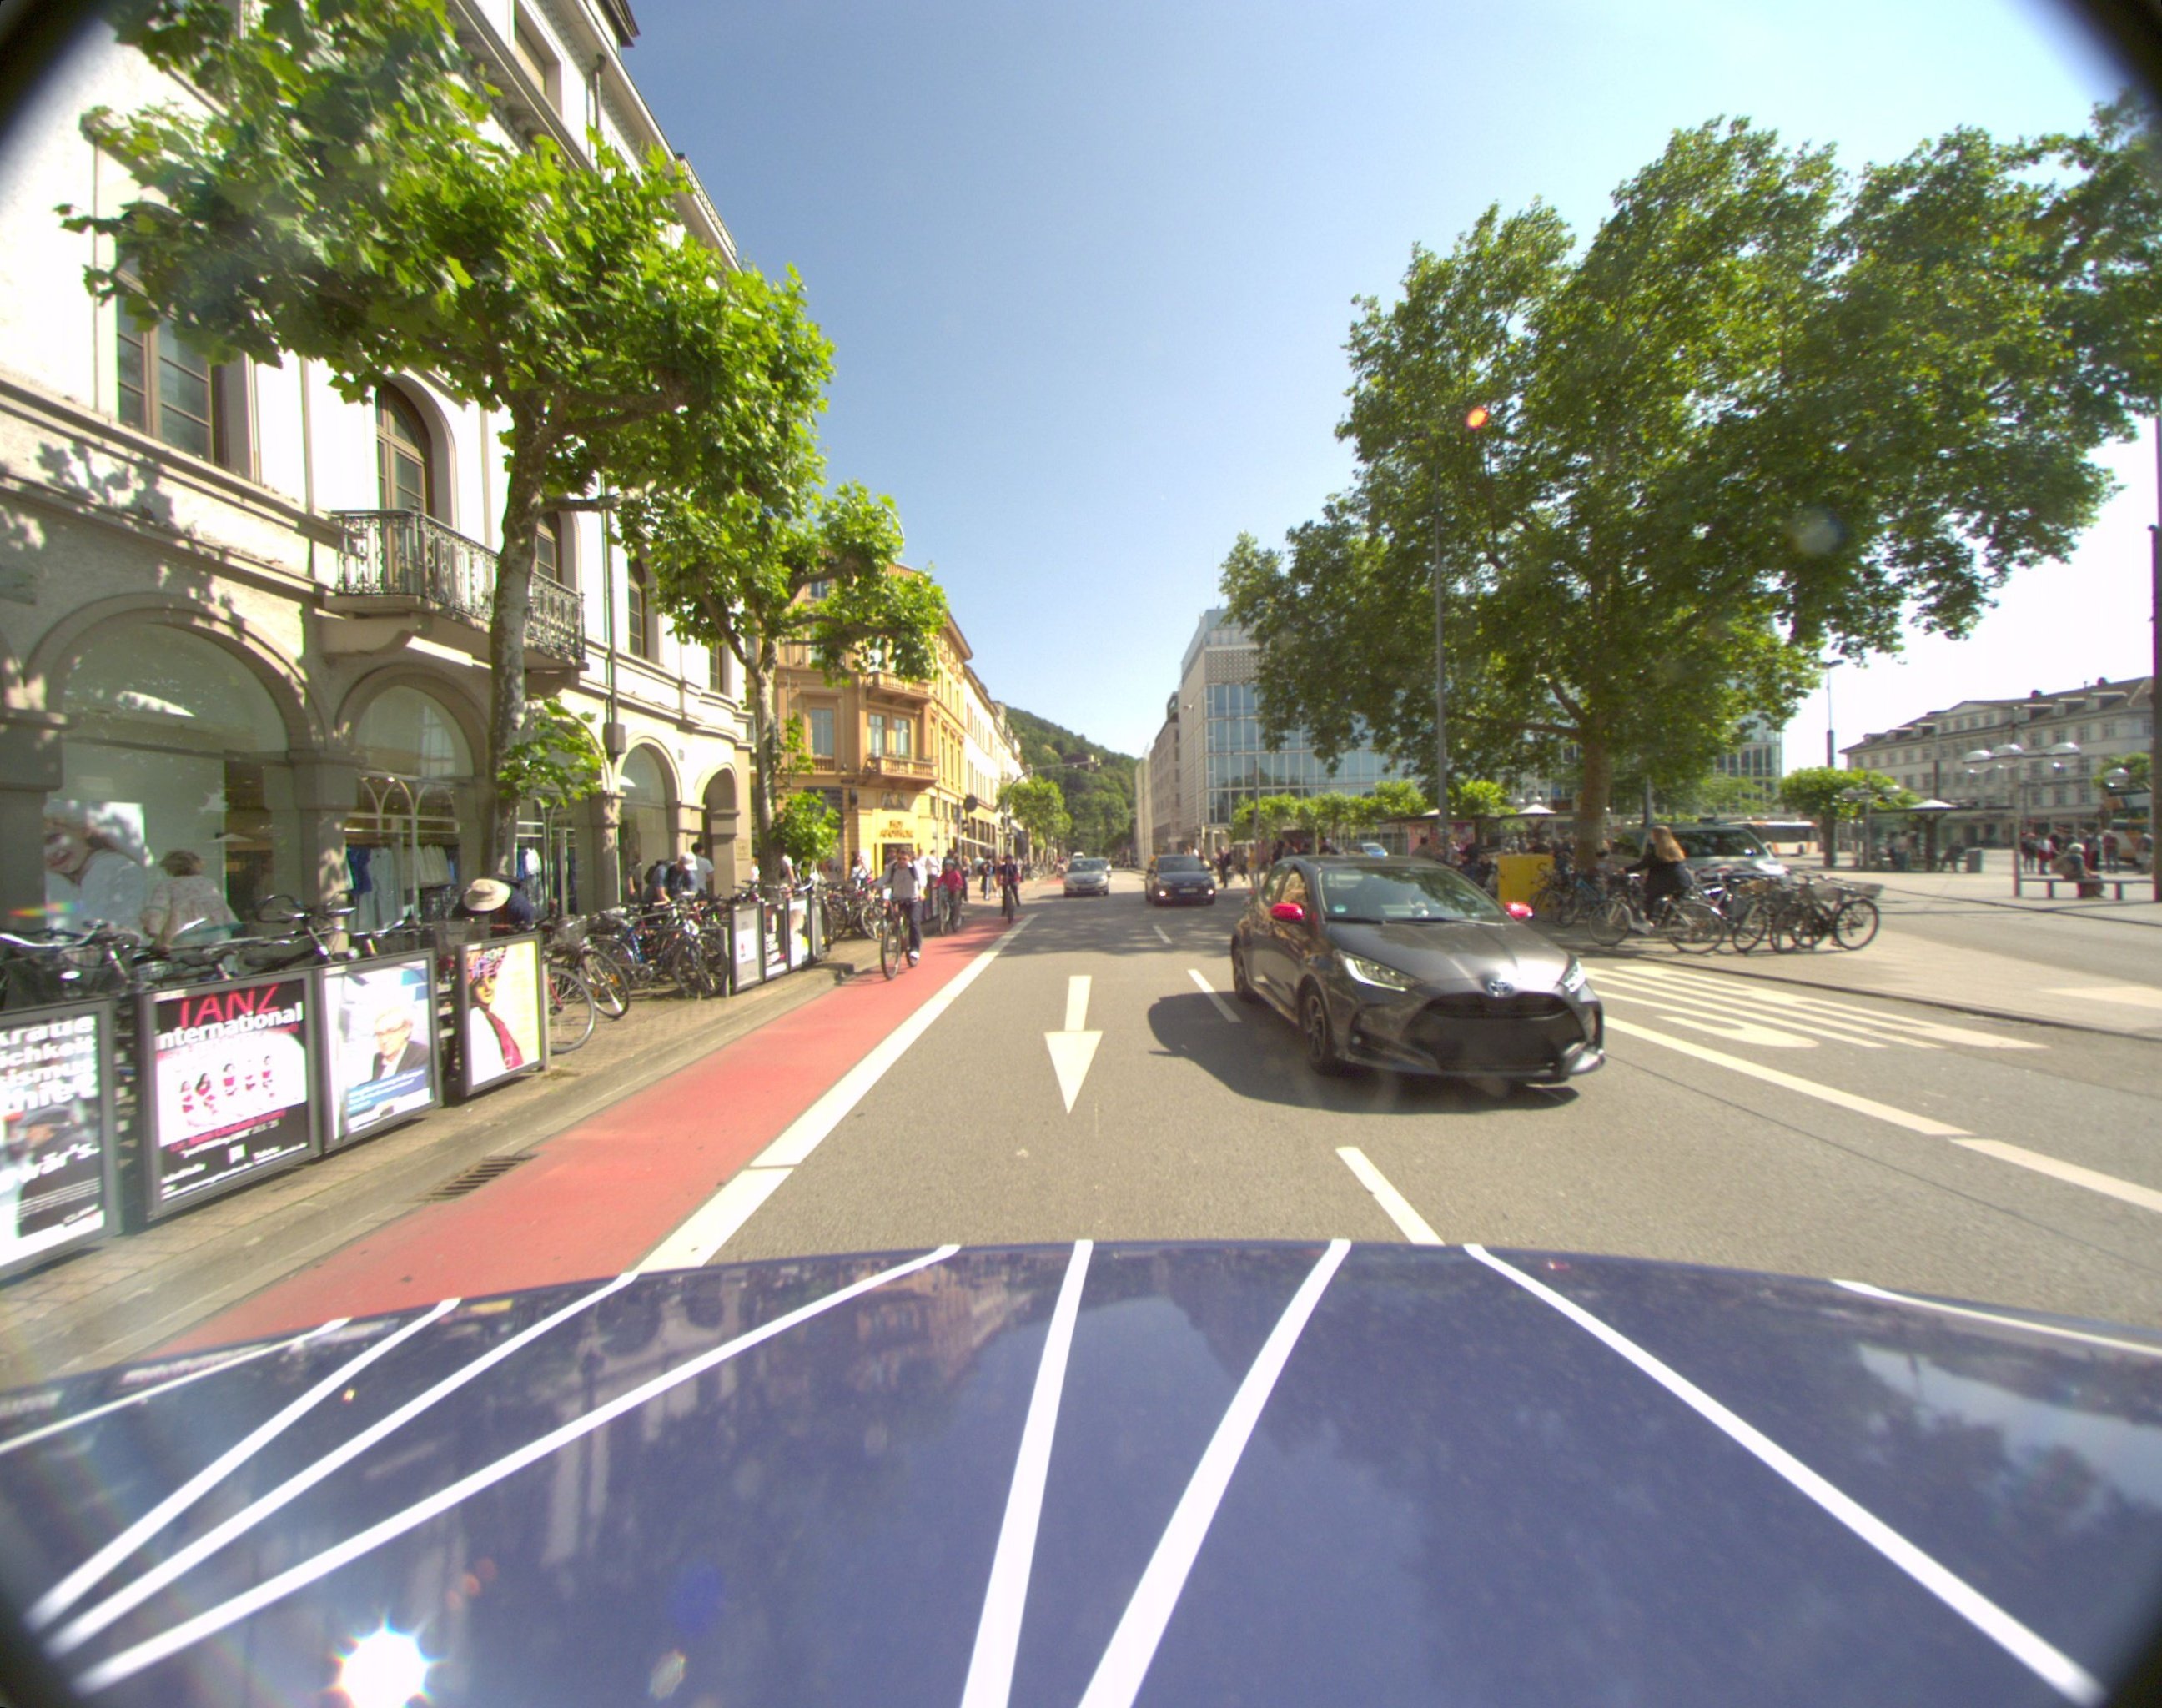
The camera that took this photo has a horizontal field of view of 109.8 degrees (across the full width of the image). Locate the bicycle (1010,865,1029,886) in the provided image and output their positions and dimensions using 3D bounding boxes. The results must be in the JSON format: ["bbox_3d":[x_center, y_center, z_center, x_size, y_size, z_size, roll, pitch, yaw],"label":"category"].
[{"bbox_3d":[-3.413,1.182,41.909,0.737,1.086,1.895,2,0,-13],"label":"bicycle"}]

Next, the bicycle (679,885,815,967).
[{"bbox_3d":[-5.077,1.077,11.618,1.757,1.140,0.592,-2,1,-2],"label":"bicycle"}]

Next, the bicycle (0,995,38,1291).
[{"bbox_3d":[-5.108,1.163,2.797,1.757,1.140,0.483,-2,1,-2],"label":"bicycle"}]

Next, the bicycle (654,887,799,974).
[{"bbox_3d":[-5.066,1.084,10.918,1.757,1.140,0.592,-2,1,-2],"label":"bicycle"}]

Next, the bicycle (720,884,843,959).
[{"bbox_3d":[-4.923,1.100,12.549,1.757,1.140,0.598,-2,1,-2],"label":"bicycle"}]

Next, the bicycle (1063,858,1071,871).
[{"bbox_3d":[-1.350,1.011,73.757,0.736,1.086,1.897,-3,1,1],"label":"bicycle"}]

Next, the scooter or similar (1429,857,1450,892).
[{"bbox_3d":[11.925,0.666,25.256,0.567,1.113,0.539,-3,1,28],"label":"scooter or similar"}]

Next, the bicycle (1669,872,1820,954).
[{"bbox_3d":[9.971,0.871,11.442,1.865,1.140,0.483,-2,1,-2],"label":"bicycle"}]

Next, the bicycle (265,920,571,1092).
[{"bbox_3d":[-5.019,1.128,5.828,1.757,1.140,0.592,-2,1,-2],"label":"bicycle"}]

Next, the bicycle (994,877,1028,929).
[{"bbox_3d":[-1.669,1.140,18.347,0.667,1.086,1.897,-3,1,-2],"label":"bicycle"}]

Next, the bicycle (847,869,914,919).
[{"bbox_3d":[-5.034,1.007,19.078,1.533,1.190,0.425,-2,1,-2],"label":"bicycle"}]

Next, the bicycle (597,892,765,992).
[{"bbox_3d":[-5.027,1.093,9.620,1.757,1.140,0.592,-2,1,-2],"label":"bicycle"}]

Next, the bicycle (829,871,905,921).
[{"bbox_3d":[-5.198,1.019,18.483,1.660,1.140,0.523,-2,1,-2],"label":"bicycle"}]

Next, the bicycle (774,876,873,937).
[{"bbox_3d":[-5.156,1.047,15.276,1.757,1.140,0.592,-2,1,-2],"label":"bicycle"}]

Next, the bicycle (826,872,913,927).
[{"bbox_3d":[-4.773,1.021,17.213,1.757,1.140,0.592,-2,1,-2],"label":"bicycle"}]

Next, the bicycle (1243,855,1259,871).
[{"bbox_3d":[12.497,0.630,55.826,0.592,1.140,1.757,-2,1,-7],"label":"bicycle"}]

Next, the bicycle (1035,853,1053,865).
[{"bbox_3d":[-3.664,0.489,75.506,1.757,1.140,0.592,-2,1,-2],"label":"bicycle"}]

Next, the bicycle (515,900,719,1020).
[{"bbox_3d":[-4.906,1.107,8.104,1.757,1.140,0.592,-2,1,-1],"label":"bicycle"}]

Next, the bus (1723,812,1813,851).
[{"bbox_3d":[59.067,-1.961,65.183,12.201,2.774,2.384,-4,1,-32],"label":"bus"}]

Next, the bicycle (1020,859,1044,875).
[{"bbox_3d":[-3.706,0.981,57.266,1.757,1.140,0.592,-2,1,-2],"label":"bicycle"}]

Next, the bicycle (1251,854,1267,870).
[{"bbox_3d":[13.098,0.569,55.893,0.592,1.140,1.757,-2,1,-7],"label":"bicycle"}]

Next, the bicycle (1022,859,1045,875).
[{"bbox_3d":[-3.648,0.986,58.746,1.757,1.140,0.592,-2,1,-2],"label":"bicycle"}]

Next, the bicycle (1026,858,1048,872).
[{"bbox_3d":[-3.697,0.910,63.884,1.757,1.140,0.592,-2,1,-2],"label":"bicycle"}]

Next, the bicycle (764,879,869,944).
[{"bbox_3d":[-5.035,1.084,14.524,1.757,1.140,0.592,-2,1,-2],"label":"bicycle"}]

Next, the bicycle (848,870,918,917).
[{"bbox_3d":[-5.086,1.003,19.563,1.632,1.140,0.425,-2,1,-2],"label":"bicycle"}]

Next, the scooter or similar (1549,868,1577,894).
[{"bbox_3d":[12.877,0.724,20.297,0.579,0.643,0.787,-3,1,33],"label":"scooter or similar"}]

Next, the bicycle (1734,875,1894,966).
[{"bbox_3d":[10.024,0.898,10.412,1.757,1.140,0.483,-2,1,-2],"label":"bicycle"}]

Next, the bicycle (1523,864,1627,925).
[{"bbox_3d":[9.821,0.795,15.126,1.757,1.140,0.483,-2,1,-2],"label":"bicycle"}]

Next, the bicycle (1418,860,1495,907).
[{"bbox_3d":[9.705,0.765,19.672,1.757,1.140,0.483,-2,1,-2],"label":"bicycle"}]

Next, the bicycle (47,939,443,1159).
[{"bbox_3d":[-4.961,1.138,4.575,1.757,1.140,0.483,-2,1,-2],"label":"bicycle"}]

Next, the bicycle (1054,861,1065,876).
[{"bbox_3d":[-1.735,1.153,60.953,0.736,1.086,1.897,-3,1,1],"label":"bicycle"}]

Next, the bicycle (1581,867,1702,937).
[{"bbox_3d":[9.753,0.826,13.247,1.757,1.140,0.483,-2,1,-2],"label":"bicycle"}]

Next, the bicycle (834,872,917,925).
[{"bbox_3d":[-4.802,1.035,17.853,1.757,1.140,0.592,-2,1,-2],"label":"bicycle"}]

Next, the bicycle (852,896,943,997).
[{"bbox_3d":[-2.424,1.187,10.290,0.736,1.086,1.897,-3,1,-1],"label":"bicycle"}]

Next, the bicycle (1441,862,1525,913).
[{"bbox_3d":[9.636,0.795,18.230,1.757,1.140,0.483,-2,1,-2],"label":"bicycle"}]

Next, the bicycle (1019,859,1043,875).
[{"bbox_3d":[-3.695,0.984,56.525,1.757,1.140,0.592,-2,1,-2],"label":"bicycle"}]

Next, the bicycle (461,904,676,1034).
[{"bbox_3d":[-5.008,1.112,7.485,1.707,1.140,0.519,-2,1,-2],"label":"bicycle"}]

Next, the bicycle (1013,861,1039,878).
[{"bbox_3d":[-3.920,1.117,53.924,1.757,1.140,0.592,-2,1,-2],"label":"bicycle"}]

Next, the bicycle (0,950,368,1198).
[{"bbox_3d":[-4.957,1.142,4.061,1.757,1.140,0.483,-2,1,-2],"label":"bicycle"}]

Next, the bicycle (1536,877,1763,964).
[{"bbox_3d":[8.152,0.895,11.109,0.832,1.017,2.622,-4,1,-18],"label":"bicycle"}]

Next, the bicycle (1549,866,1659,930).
[{"bbox_3d":[9.895,0.828,14.407,1.757,1.140,0.483,-2,1,-2],"label":"bicycle"}]

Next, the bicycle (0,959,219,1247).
[{"bbox_3d":[-5.093,1.106,3.428,1.757,1.140,0.483,-2,1,-2],"label":"bicycle"}]

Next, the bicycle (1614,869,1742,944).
[{"bbox_3d":[9.864,0.859,12.571,1.757,1.140,0.483,-2,1,-2],"label":"bicycle"}]

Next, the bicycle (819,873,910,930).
[{"bbox_3d":[-4.688,1.024,16.510,1.757,1.140,0.592,-2,1,-2],"label":"bicycle"}]

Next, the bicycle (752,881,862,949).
[{"bbox_3d":[-4.953,1.093,13.804,1.757,1.140,0.592,-2,1,-2],"label":"bicycle"}]

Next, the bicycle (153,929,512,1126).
[{"bbox_3d":[-4.979,1.133,5.134,1.757,1.140,0.592,-2,1,-2],"label":"bicycle"}]

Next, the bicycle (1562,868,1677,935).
[{"bbox_3d":[9.783,0.851,13.828,1.757,1.140,0.483,-2,1,-2],"label":"bicycle"}]

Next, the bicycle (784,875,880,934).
[{"bbox_3d":[-5.184,1.043,15.877,1.757,1.152,0.592,-2,1,-2],"label":"bicycle"}]

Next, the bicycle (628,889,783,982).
[{"bbox_3d":[-5.048,1.088,10.286,1.757,1.140,0.592,-2,1,-2],"label":"bicycle"}]

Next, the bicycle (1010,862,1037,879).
[{"bbox_3d":[-4.015,1.135,53.087,1.757,1.140,0.592,-2,1,-2],"label":"bicycle"}]

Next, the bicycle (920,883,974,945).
[{"bbox_3d":[-2.691,1.178,15.436,0.736,1.086,1.819,-3,0,-1],"label":"bicycle"}]

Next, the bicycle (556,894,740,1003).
[{"bbox_3d":[-5.024,1.087,8.883,1.757,1.140,0.592,-2,1,-2],"label":"bicycle"}]

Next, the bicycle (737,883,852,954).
[{"bbox_3d":[-4.940,1.103,13.172,1.757,1.140,0.518,-2,1,-2],"label":"bicycle"}]

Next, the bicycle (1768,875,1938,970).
[{"bbox_3d":[10.040,0.878,9.905,1.757,1.140,0.483,-2,1,-2],"label":"bicycle"}]

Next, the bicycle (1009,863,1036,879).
[{"bbox_3d":[-3.997,1.132,51.985,1.757,1.029,0.592,-2,1,-2],"label":"bicycle"}]

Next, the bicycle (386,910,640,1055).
[{"bbox_3d":[-5.017,1.119,6.789,1.757,1.140,0.592,-2,1,-2],"label":"bicycle"}]
